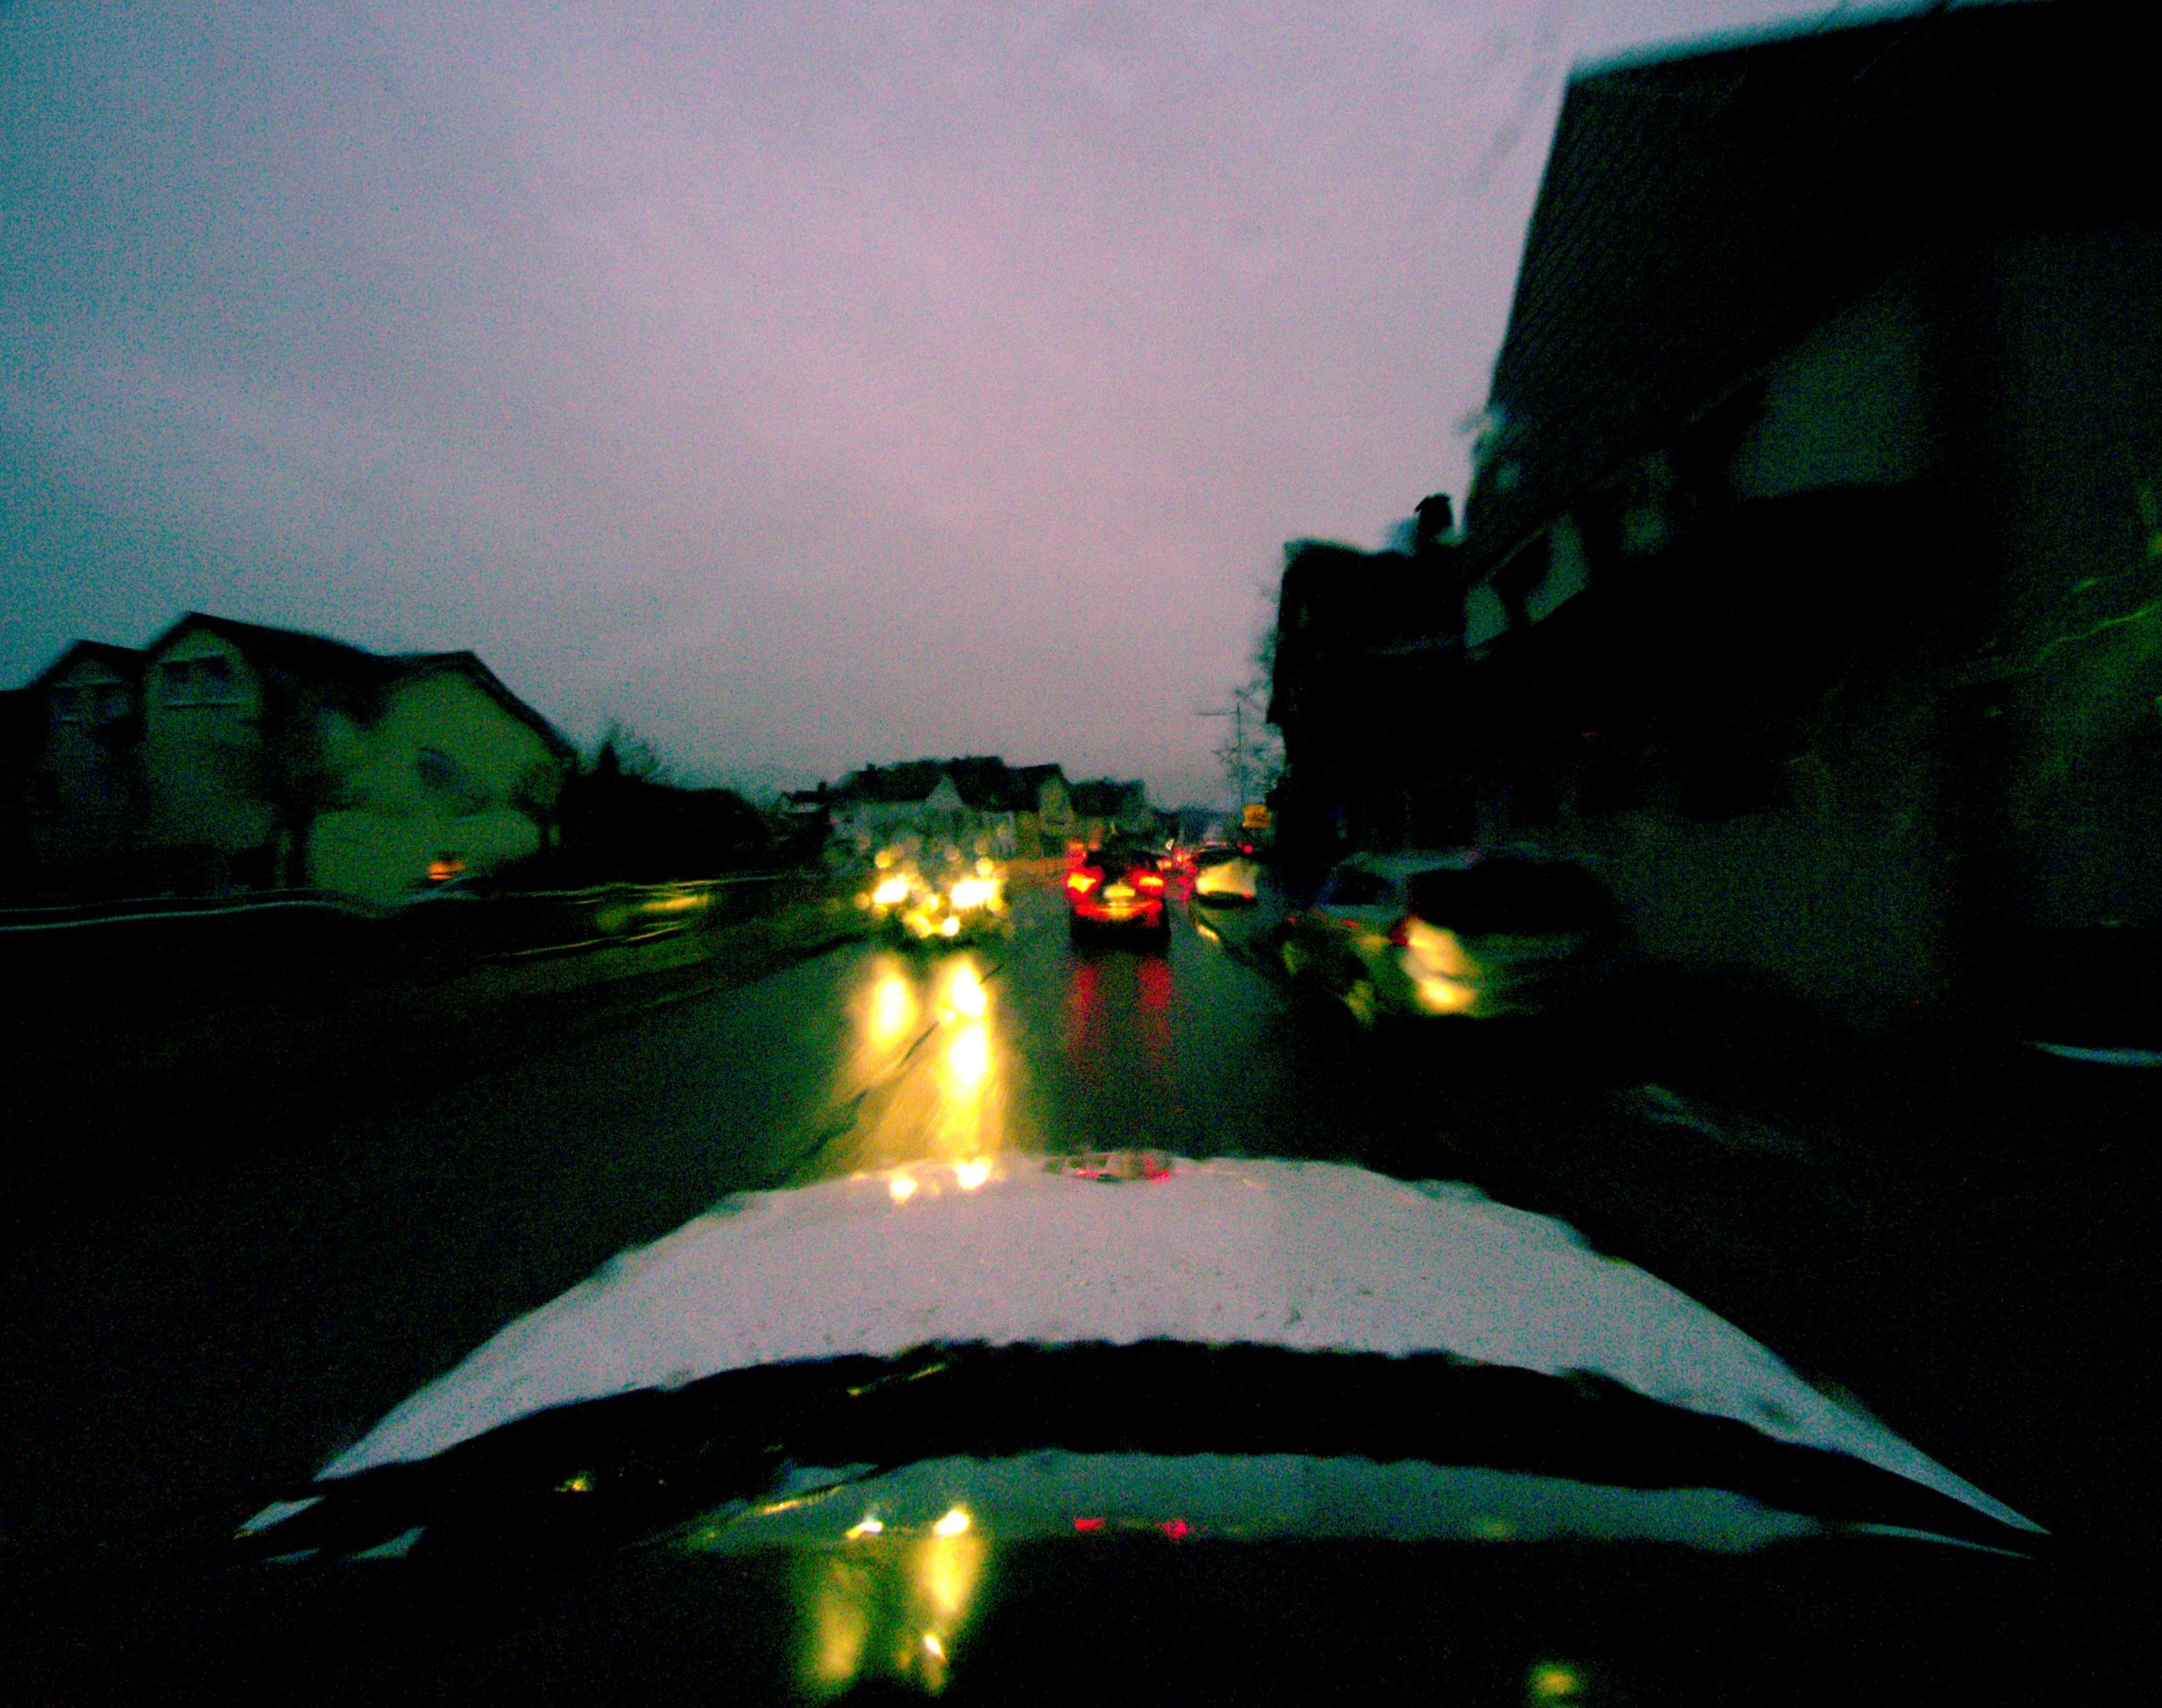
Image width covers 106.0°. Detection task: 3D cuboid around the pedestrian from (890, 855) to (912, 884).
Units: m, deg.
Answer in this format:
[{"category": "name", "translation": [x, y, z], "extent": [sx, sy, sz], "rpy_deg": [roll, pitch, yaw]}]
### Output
[{"category": "pedestrian", "translation": [-11.354, 0.962, 51.356], "extent": [0.921, 1.784, 0.977], "rpy_deg": [-1, 0, 15]}]

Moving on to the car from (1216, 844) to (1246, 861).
[{"category": "car", "translation": [13.470, -0.178, 73.196], "extent": [1.977, 1.391, 4.020], "rpy_deg": [-2, 1, 20]}]

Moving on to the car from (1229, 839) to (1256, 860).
[{"category": "car", "translation": [17.330, -0.519, 87.297], "extent": [2.140, 1.991, 4.521], "rpy_deg": [-6, -1, 18]}]

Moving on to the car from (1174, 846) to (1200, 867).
[{"category": "car", "translation": [7.706, 0.153, 59.397], "extent": [1.805, 1.412, 4.008], "rpy_deg": [-1, 1, 7]}]

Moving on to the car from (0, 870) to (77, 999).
[{"category": "car", "translation": [-16.165, 1.173, 10.394], "extent": [1.792, 1.803, 3.862], "rpy_deg": [-2, 0, 2]}]

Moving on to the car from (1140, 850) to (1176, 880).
[{"category": "car", "translation": [3.862, 0.514, 41.441], "extent": [1.675, 1.453, 4.004], "rpy_deg": [0, 0, 3]}]

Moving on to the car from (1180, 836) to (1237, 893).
[{"category": "car", "translation": [4.625, 0.337, 29.480], "extent": [1.759, 1.782, 4.011], "rpy_deg": [-5, 0, 9]}]

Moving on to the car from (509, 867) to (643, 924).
[{"category": "car", "translation": [-19.354, 1.525, 31.510], "extent": [1.864, 1.778, 4.510], "rpy_deg": [-4, 1, 7]}]

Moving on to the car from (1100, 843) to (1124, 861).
[{"category": "car", "translation": [3.445, -0.240, 92.200], "extent": [2.036, 1.925, 4.046], "rpy_deg": [-3, 1, -7]}]

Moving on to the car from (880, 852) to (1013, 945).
[{"category": "car", "translation": [-2.402, 0.742, 15.448], "extent": [1.725, 1.536, 3.783], "rpy_deg": [0, 0, 2]}]

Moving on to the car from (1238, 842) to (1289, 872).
[{"category": "car", "translation": [9.613, 0.136, 43.122], "extent": [1.759, 1.393, 3.914], "rpy_deg": [-4, 0, 0]}]

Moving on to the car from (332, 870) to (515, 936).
[{"category": "car", "translation": [-20.229, 1.444, 25.342], "extent": [1.864, 1.598, 4.233], "rpy_deg": [-4, 1, 7]}]

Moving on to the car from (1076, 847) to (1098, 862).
[{"category": "car", "translation": [0.654, 0.007, 92.954], "extent": [1.820, 1.613, 4.046], "rpy_deg": [-3, 1, -7]}]

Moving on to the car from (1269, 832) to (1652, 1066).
[{"category": "car", "translation": [3.033, 0.634, 7.593], "extent": [1.646, 1.455, 4.240], "rpy_deg": [-4, 0, 2]}]

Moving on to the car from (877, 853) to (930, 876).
[{"category": "car", "translation": [-15.333, 0.934, 70.506], "extent": [3.961, 1.694, 1.870], "rpy_deg": [-4, 0, 11]}]

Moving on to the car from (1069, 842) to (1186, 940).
[{"category": "car", "translation": [0.769, 0.604, 16.041], "extent": [1.959, 1.594, 4.312], "rpy_deg": [-1, 1, -1]}]

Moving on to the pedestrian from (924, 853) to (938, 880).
[{"category": "pedestrian", "translation": [-9.408, 0.766, 50.987], "extent": [0.658, 1.697, 0.543], "rpy_deg": [-1, 0, 15]}]

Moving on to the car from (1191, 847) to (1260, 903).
[{"category": "car", "translation": [4.133, 0.566, 23.680], "extent": [1.637, 1.415, 2.731], "rpy_deg": [-5, 0, 5]}]
